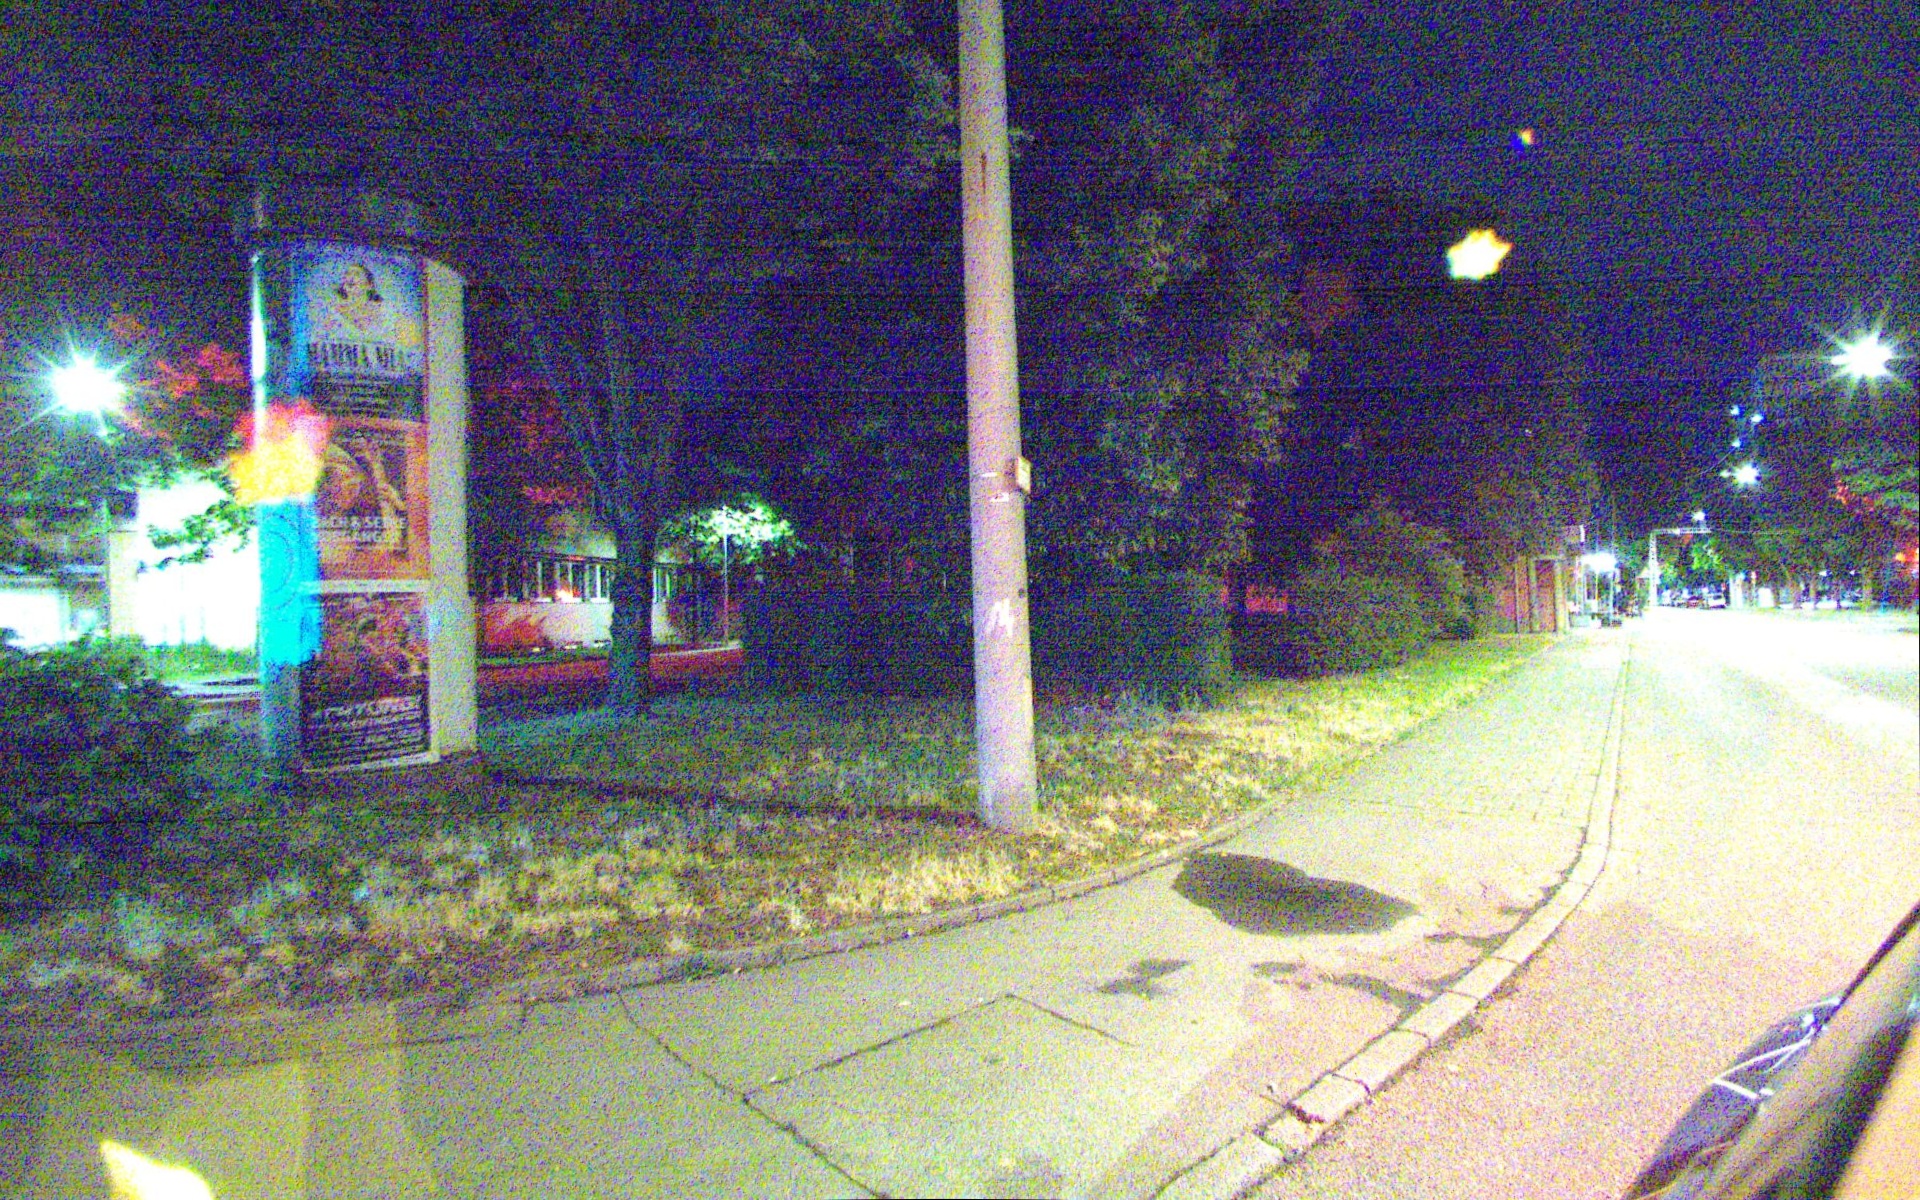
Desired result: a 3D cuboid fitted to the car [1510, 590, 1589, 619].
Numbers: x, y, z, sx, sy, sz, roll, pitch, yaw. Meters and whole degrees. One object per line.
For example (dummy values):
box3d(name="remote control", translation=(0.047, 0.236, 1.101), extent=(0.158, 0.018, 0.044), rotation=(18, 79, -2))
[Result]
box3d(name="car", translation=(35.124, 0.295, 60.299), extent=(3.972, 1.653, 1.851), rotation=(-1, -1, 34))
